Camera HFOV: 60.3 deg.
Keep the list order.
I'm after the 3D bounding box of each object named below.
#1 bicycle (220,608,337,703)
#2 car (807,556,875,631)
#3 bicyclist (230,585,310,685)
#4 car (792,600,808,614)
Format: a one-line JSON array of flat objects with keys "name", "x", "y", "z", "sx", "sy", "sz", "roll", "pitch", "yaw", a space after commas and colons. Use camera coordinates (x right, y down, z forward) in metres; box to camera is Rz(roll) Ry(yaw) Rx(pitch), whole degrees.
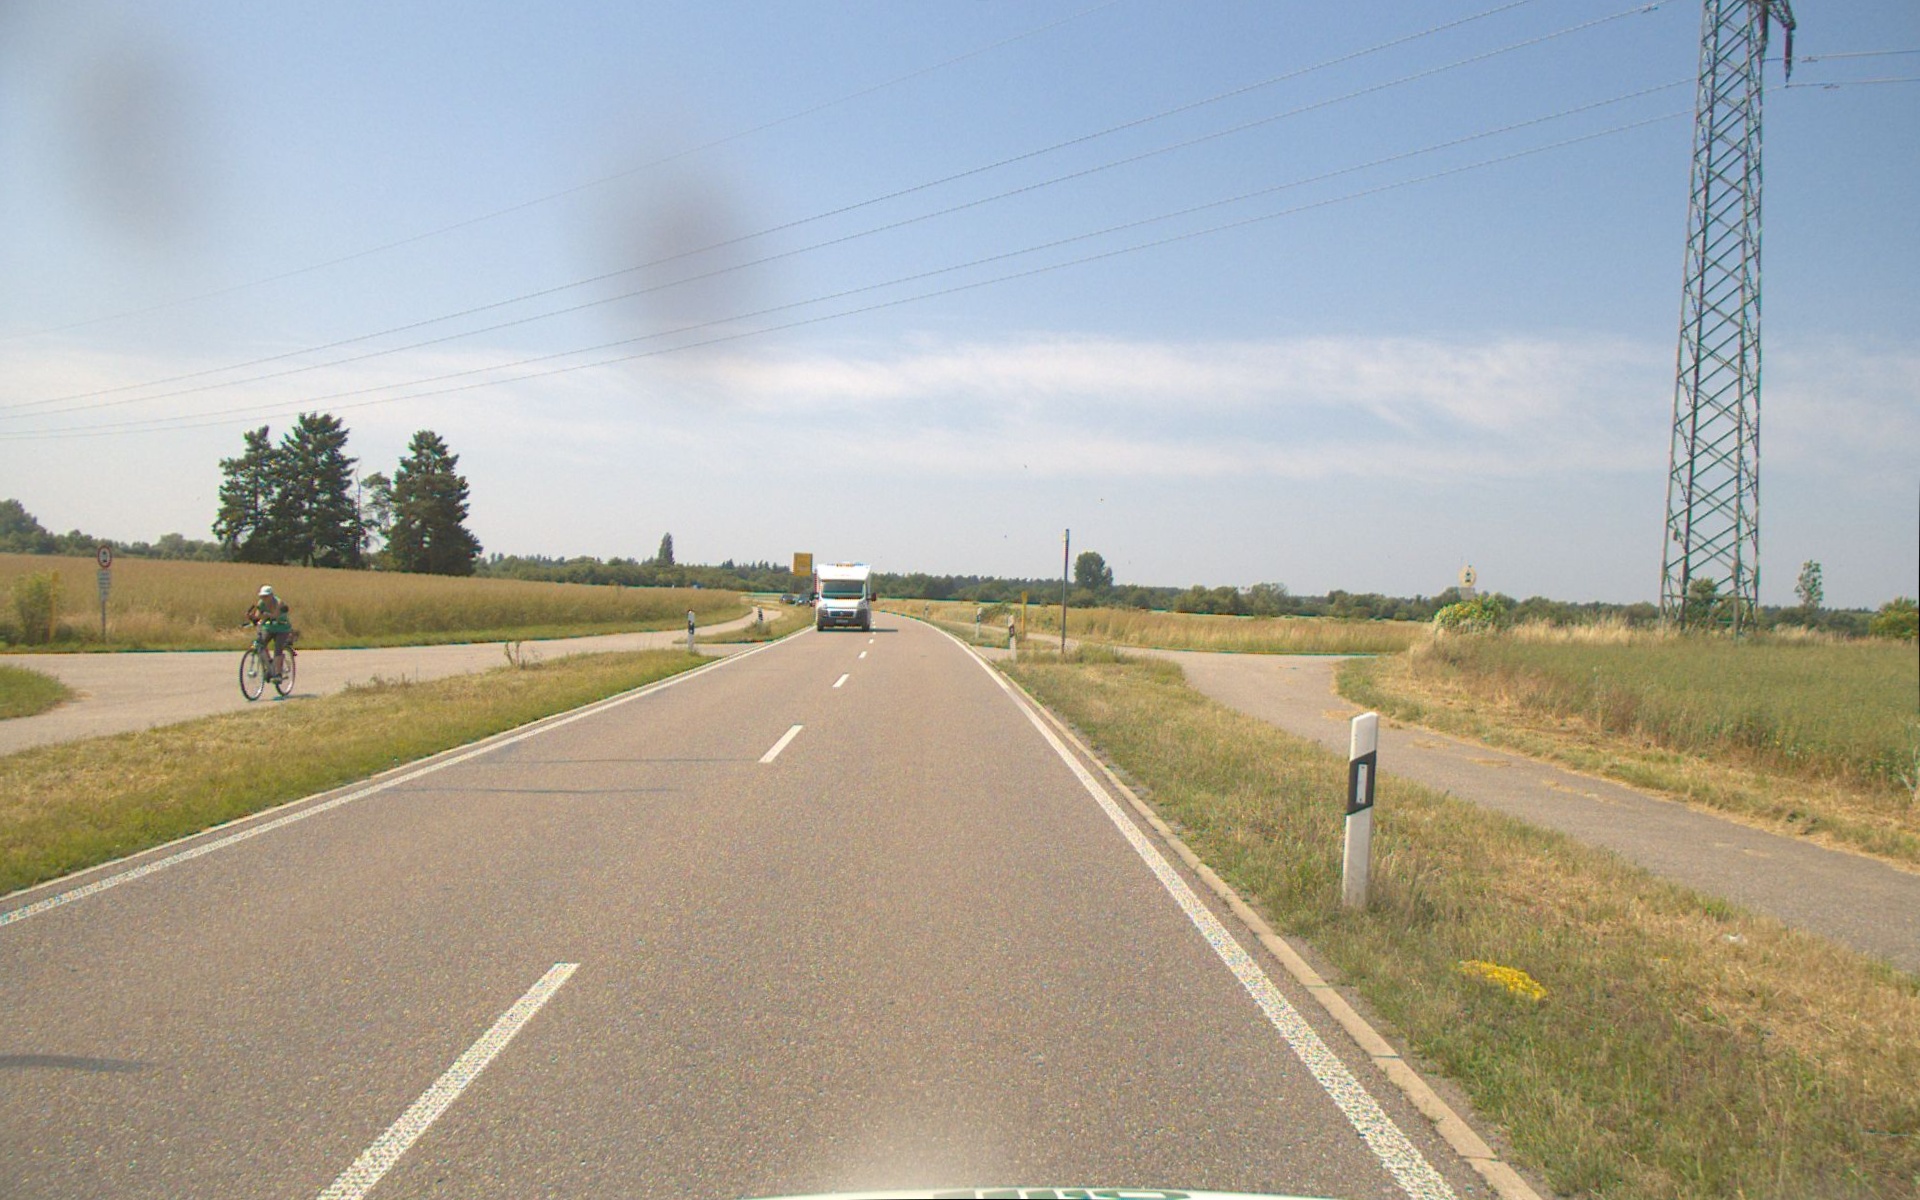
[{"name": "bicycle", "x": -9.621, "y": 0.754, "z": 23.447, "sx": 0.747, "sy": 1.250, "sz": 2.215, "roll": 1, "pitch": 0, "yaw": -1}, {"name": "car", "x": -4.891, "y": -0.282, "z": 68.944, "sx": 2.348, "sy": 2.896, "sz": 7.626, "roll": 1, "pitch": 0, "yaw": -1}, {"name": "bicyclist", "x": -9.627, "y": 0.479, "z": 23.114, "sx": 0.687, "sy": 1.354, "sz": 0.965, "roll": 1, "pitch": 0, "yaw": -1}, {"name": "car", "x": -18.797, "y": 0.833, "z": 194.871, "sx": 1.677, "sy": 1.614, "sz": 3.500, "roll": 1, "pitch": -1, "yaw": -3}]
